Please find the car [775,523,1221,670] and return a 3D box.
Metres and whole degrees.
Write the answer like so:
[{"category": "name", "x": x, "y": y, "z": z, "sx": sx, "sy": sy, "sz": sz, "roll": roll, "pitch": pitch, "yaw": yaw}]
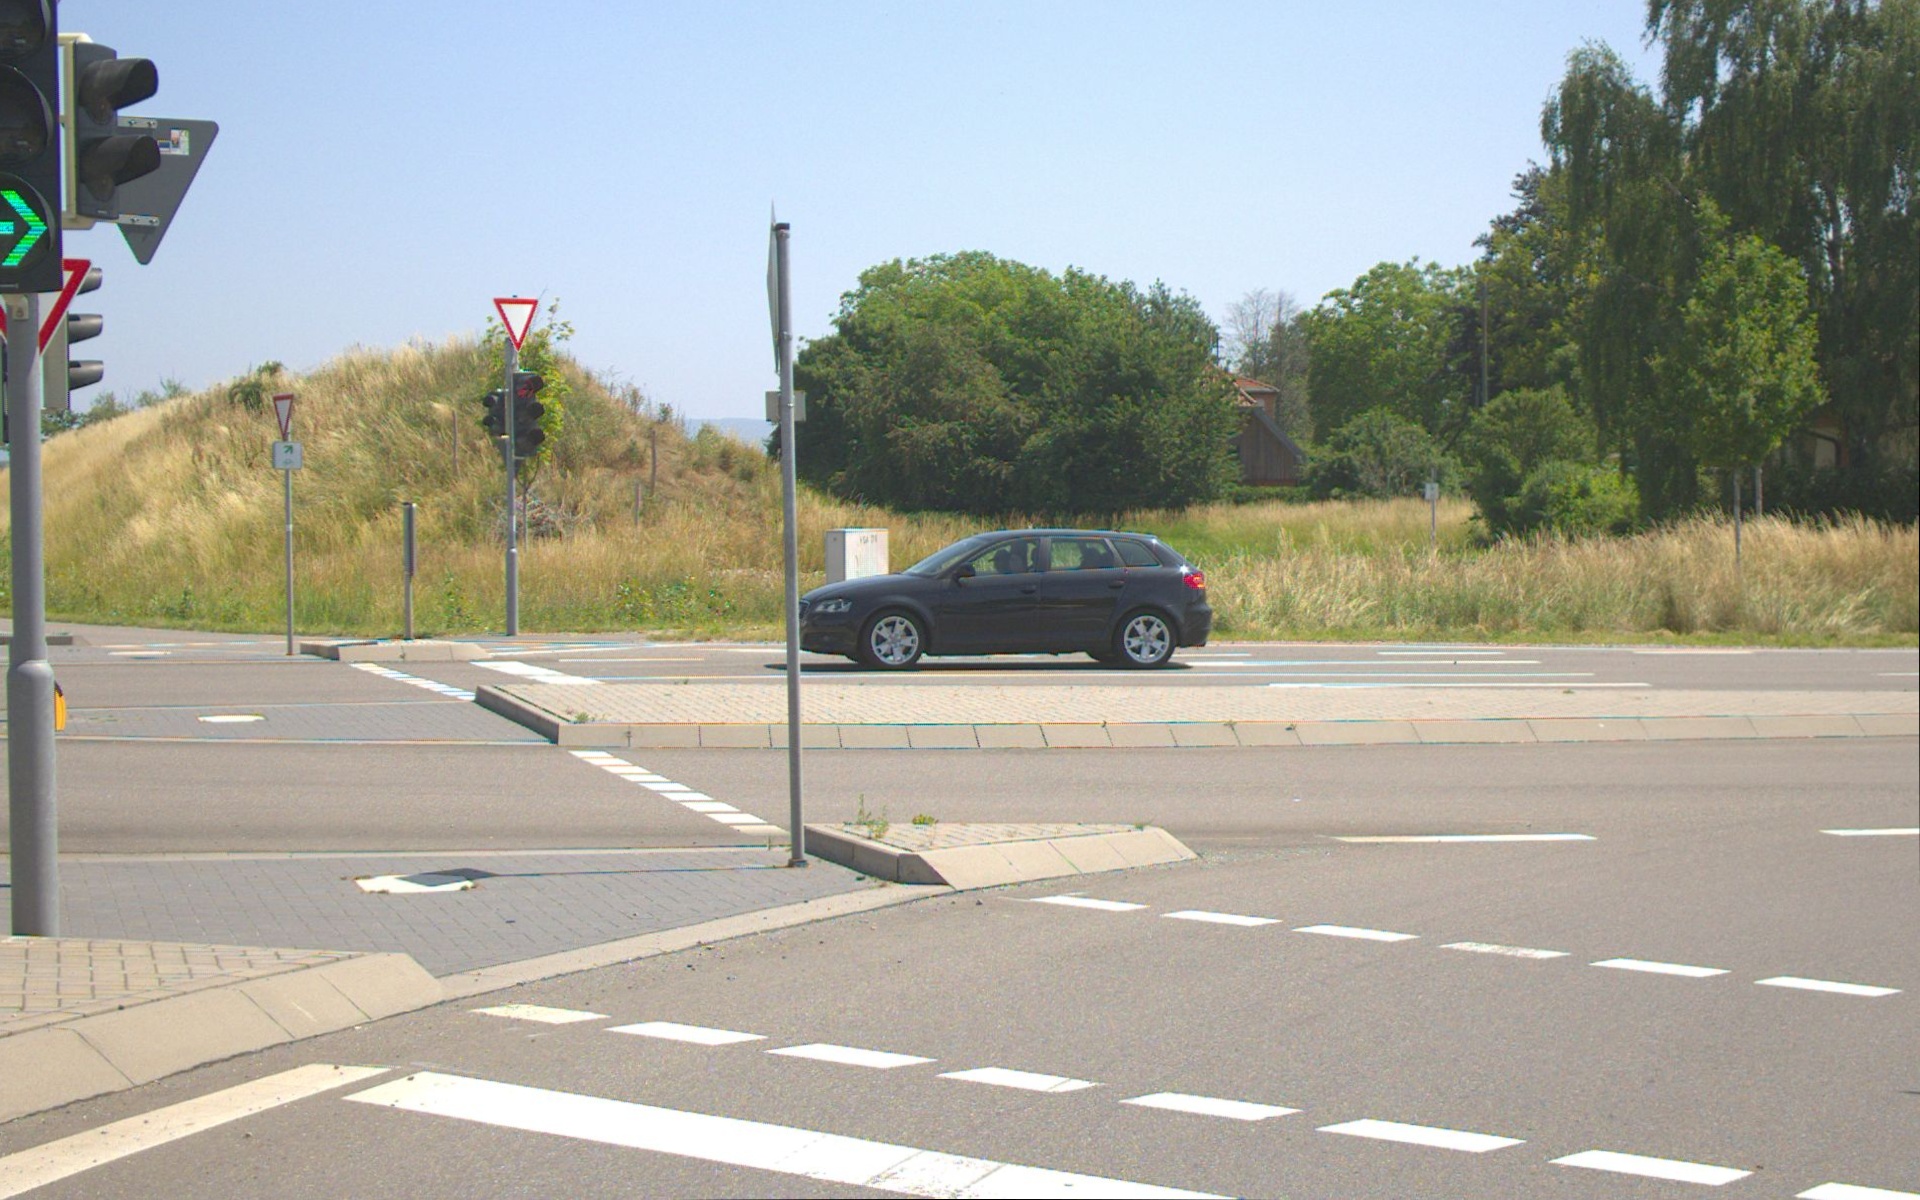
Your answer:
[{"category": "car", "x": 0.355, "y": -0.062, "z": 34.927, "sx": 4.259, "sy": 1.364, "sz": 1.777, "roll": -1, "pitch": 3, "yaw": -11}]
